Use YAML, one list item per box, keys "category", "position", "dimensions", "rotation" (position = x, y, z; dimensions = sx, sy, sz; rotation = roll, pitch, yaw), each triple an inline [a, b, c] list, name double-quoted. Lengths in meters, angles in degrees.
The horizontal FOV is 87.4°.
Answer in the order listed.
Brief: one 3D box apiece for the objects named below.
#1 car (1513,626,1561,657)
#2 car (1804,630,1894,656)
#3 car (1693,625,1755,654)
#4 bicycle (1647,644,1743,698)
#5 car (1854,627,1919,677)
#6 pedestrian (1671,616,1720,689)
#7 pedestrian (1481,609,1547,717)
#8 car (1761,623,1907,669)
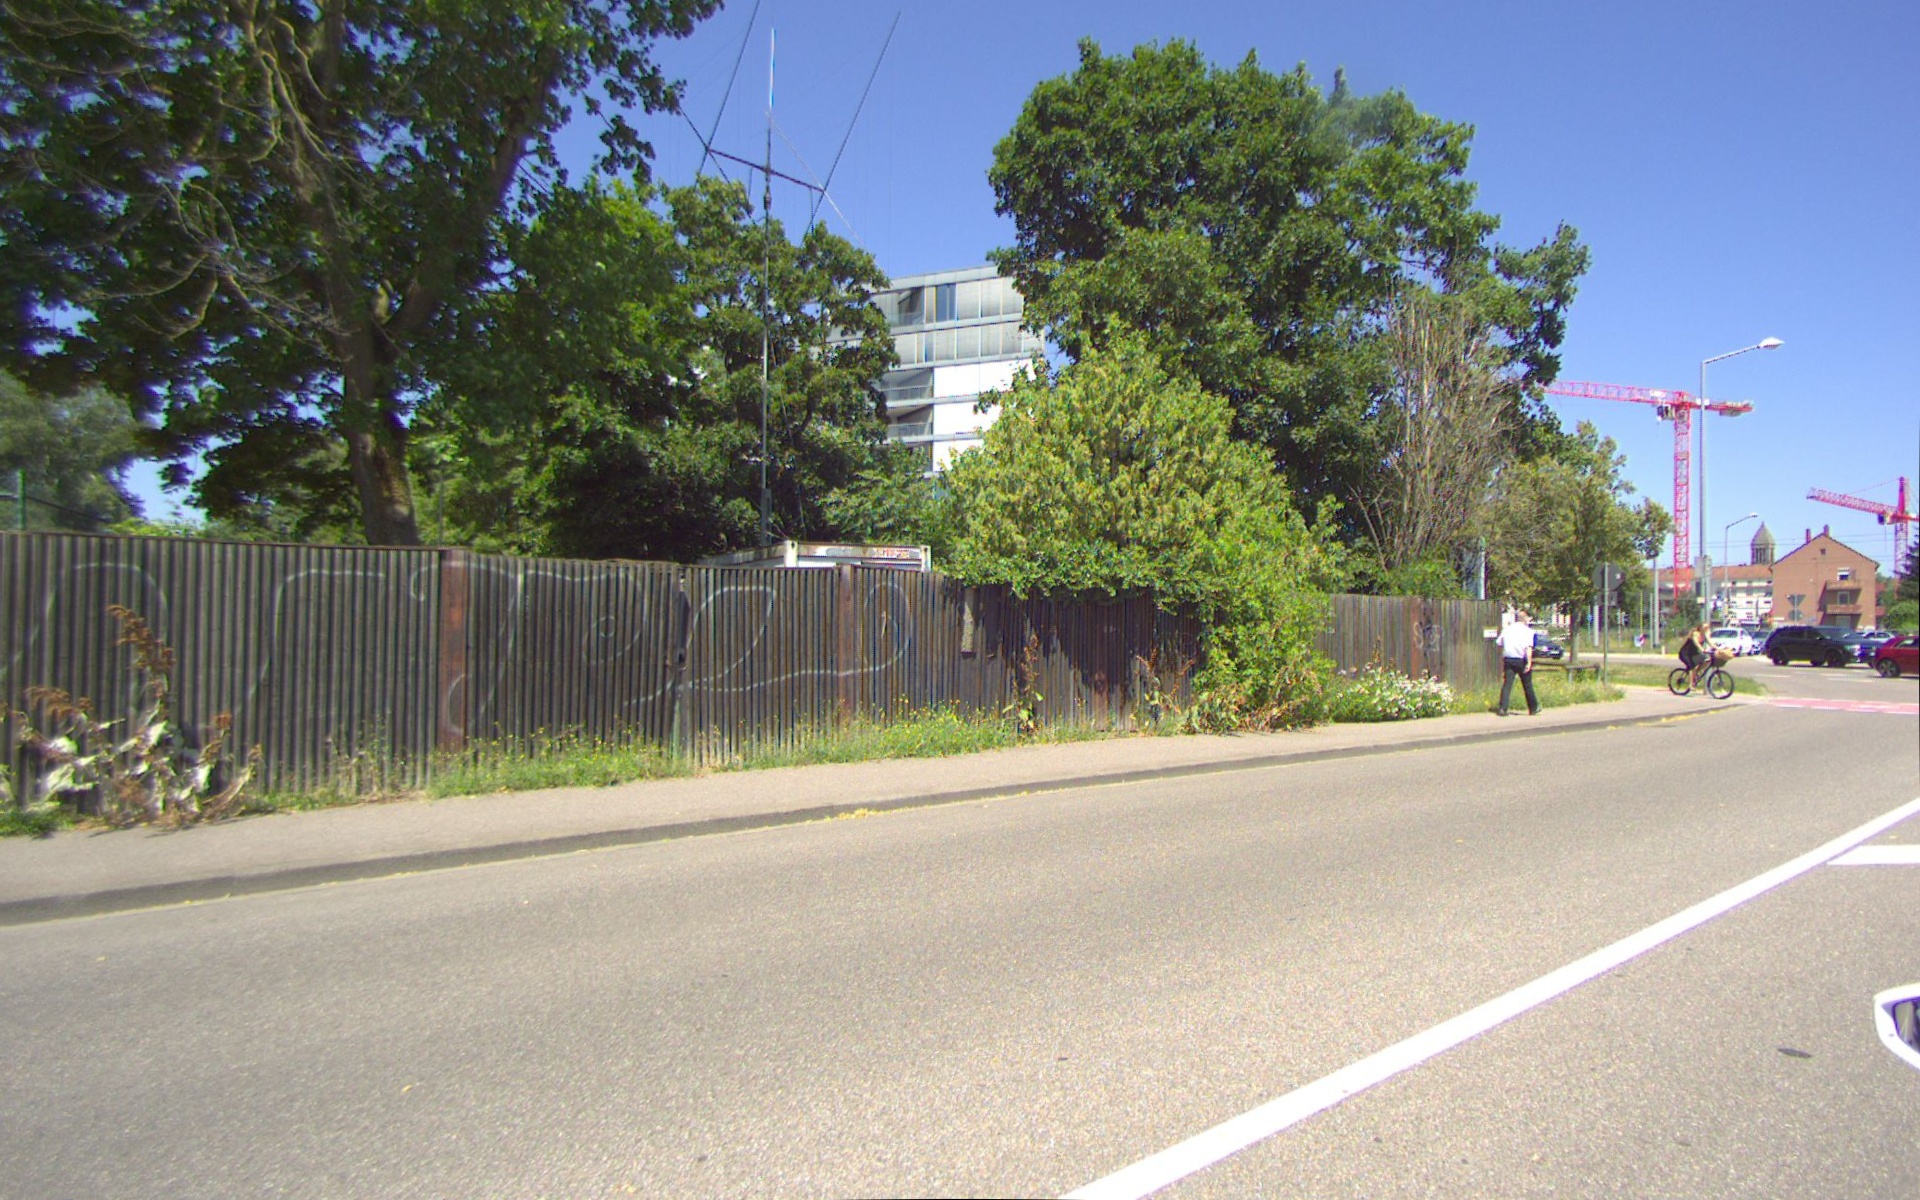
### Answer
- category: "car"
  position: [31.977, 2.260, 55.765]
  dimensions: [1.694, 1.572, 4.342]
  rotation: [-1, -1, 22]
- category: "car"
  position: [55.609, 2.686, 62.859]
  dimensions: [4.188, 1.421, 1.732]
  rotation: [2, 0, -3]
- category: "car"
  position: [42.247, 2.142, 55.530]
  dimensions: [3.837, 1.547, 1.763]
  rotation: [1, -2, -37]
- category: "bicycle"
  position: [17.628, 1.689, 24.142]
  dimensions: [0.604, 1.247, 1.841]
  rotation: [2, -3, -19]
- category: "car"
  position: [31.647, 1.702, 32.014]
  dimensions: [1.964, 1.547, 4.411]
  rotation: [2, 0, -11]
- category: "pedestrian"
  position: [17.658, 1.255, 24.131]
  dimensions: [0.566, 1.714, 0.731]
  rotation: [2, 0, -20]
- category: "pedestrian"
  position: [9.673, 1.078, 17.532]
  dimensions: [0.960, 1.810, 0.631]
  rotation: [2, 0, -38]
- category: "car"
  position: [35.228, 1.801, 40.668]
  dimensions: [1.961, 1.617, 4.418]
  rotation: [2, 0, -2]
